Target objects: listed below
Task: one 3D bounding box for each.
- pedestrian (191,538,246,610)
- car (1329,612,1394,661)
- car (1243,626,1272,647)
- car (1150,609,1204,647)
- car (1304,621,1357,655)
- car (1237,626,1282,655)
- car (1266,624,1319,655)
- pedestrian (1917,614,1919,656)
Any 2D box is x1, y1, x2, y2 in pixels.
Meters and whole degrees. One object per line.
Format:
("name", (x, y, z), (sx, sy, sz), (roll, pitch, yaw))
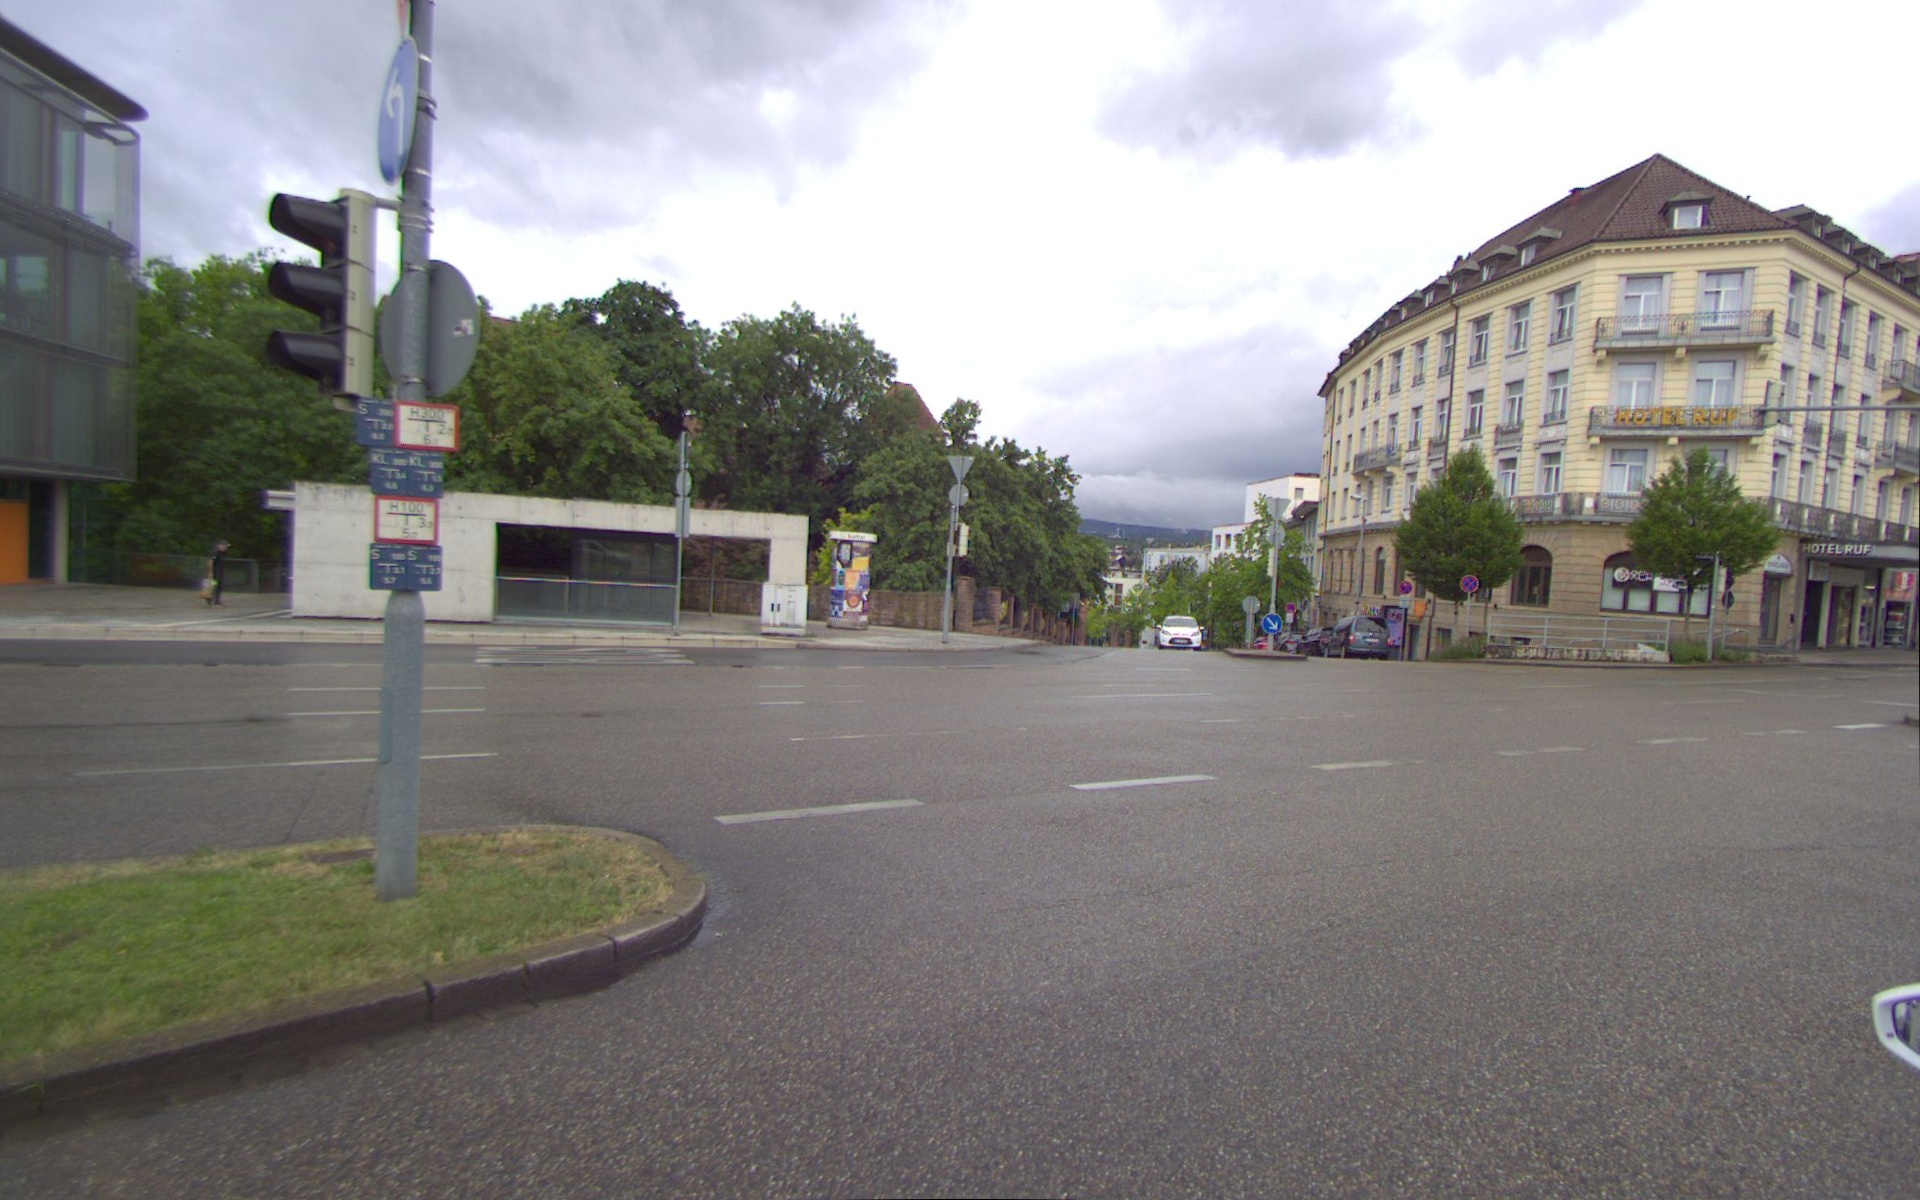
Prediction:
("pedestrian", (-19.040, -0.663, 25.799), (0.811, 1.779, 0.784), (2, 0, -11))
("car", (16.514, 1.449, 41.504), (1.602, 1.783, 4.002), (2, 1, 9))
("car", (23.447, 2.823, 79.337), (1.734, 1.498, 4.003), (2, 0, 11))
("car", (8.892, 1.126, 41.392), (1.602, 1.416, 4.002), (2, 0, 4))
("car", (17.612, 1.780, 47.879), (1.602, 1.417, 4.002), (2, 1, 9))
("car", (17.691, 2.354, 59.465), (1.734, 1.498, 4.012), (2, 0, 5))
("car", (17.592, 2.059, 53.253), (1.734, 1.498, 4.002), (2, 0, 5))
("pedestrian", (42.682, 1.565, 43.999), (0.742, 1.837, 0.875), (2, 0, -31))
